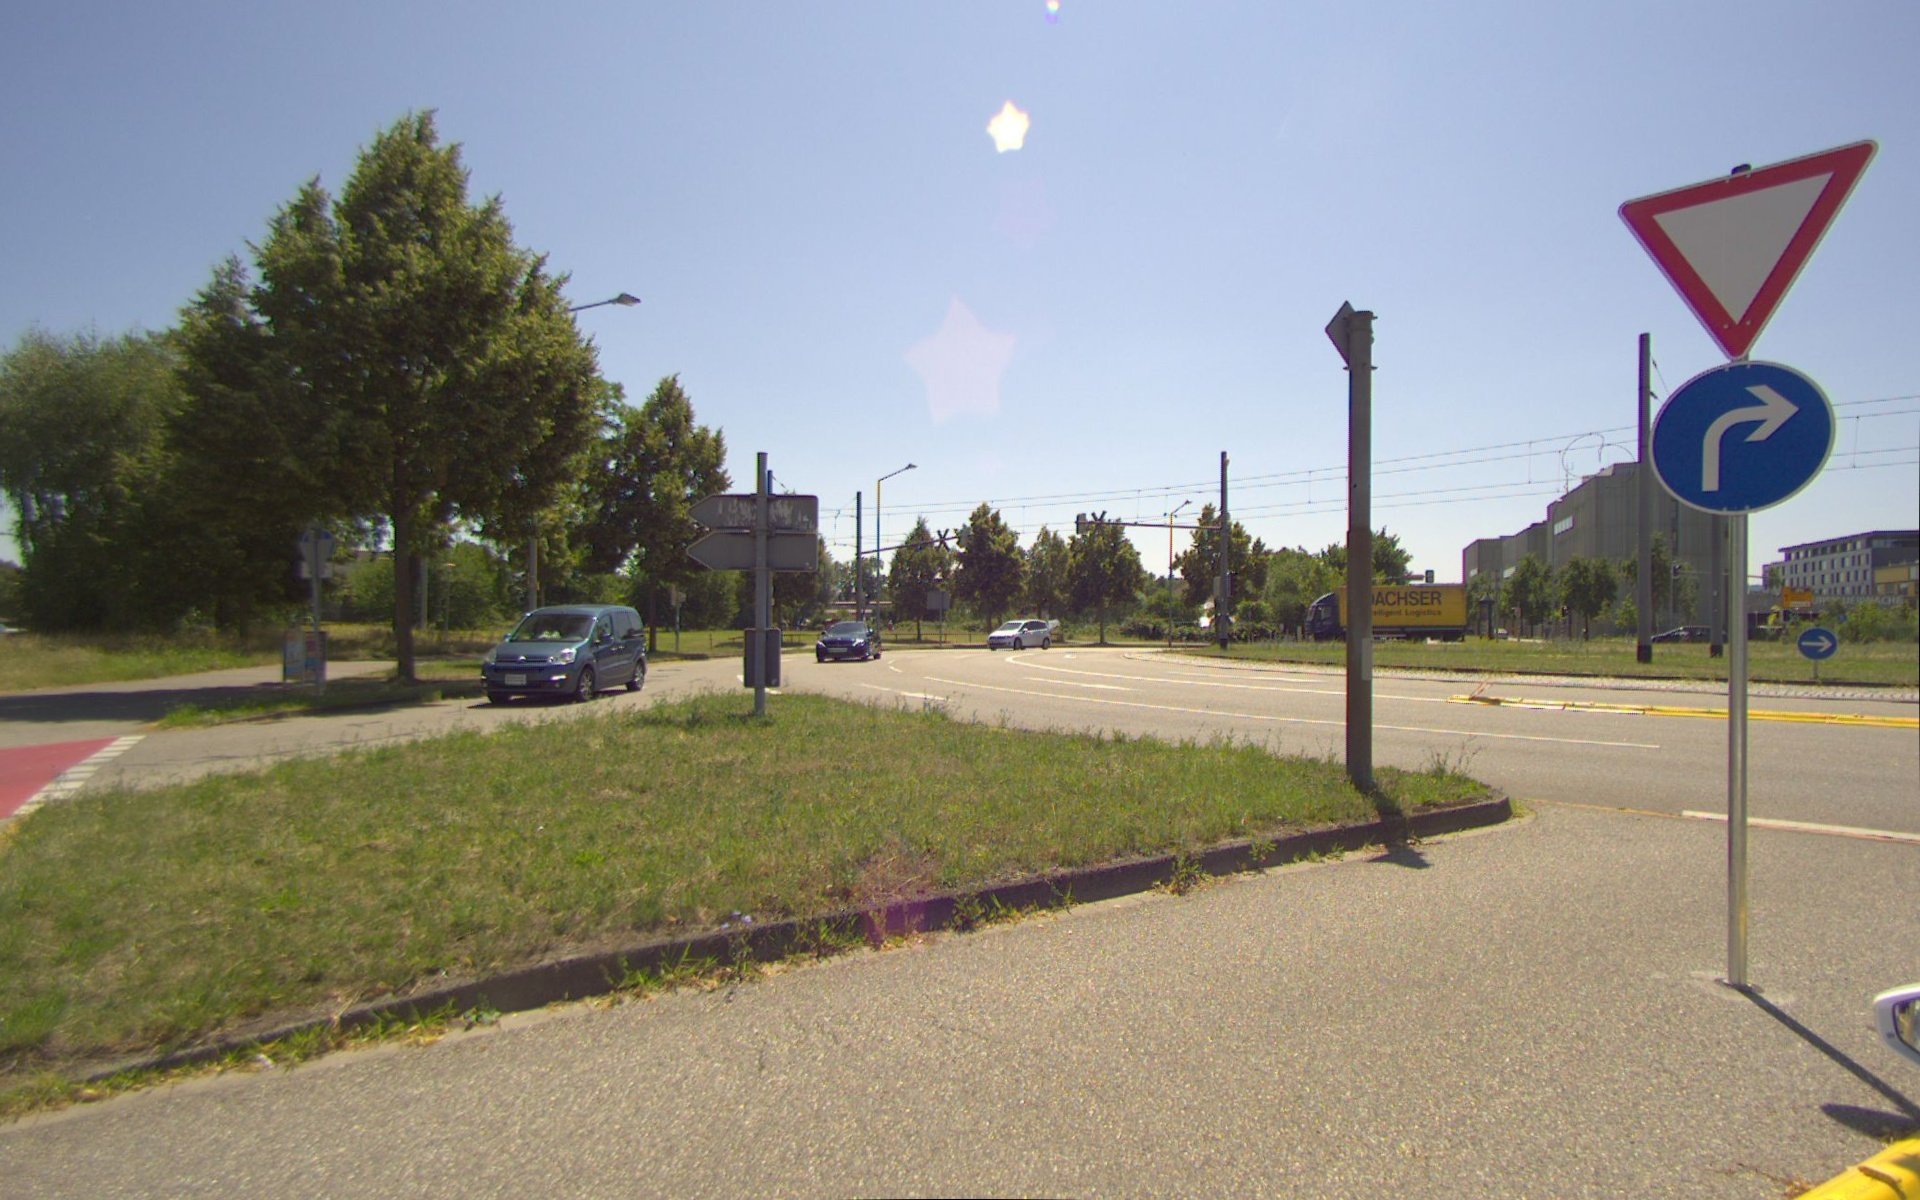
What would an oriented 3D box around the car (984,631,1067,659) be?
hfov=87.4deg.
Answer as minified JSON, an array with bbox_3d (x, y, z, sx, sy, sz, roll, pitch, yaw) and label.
[{"bbox_3d":[3.657,2.451,55.255,1.801,1.473,4.994,-1,-2,43],"label":"car"}]

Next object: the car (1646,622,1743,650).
[{"bbox_3d":[40.795,1.982,55.888,3.968,1.480,1.730,0,-1,19],"label":"car"}]

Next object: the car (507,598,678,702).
[{"bbox_3d":[-7.065,0.955,19.783,1.656,1.792,4.207,-1,-2,2],"label":"car"}]

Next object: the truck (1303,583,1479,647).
[{"bbox_3d":[25.908,0.921,60.850,9.420,3.707,2.709,0,-1,10],"label":"truck"}]

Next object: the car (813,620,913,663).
[{"bbox_3d":[-3.434,1.465,36.602,1.821,1.455,4.957,0,-1,17],"label":"car"}]
